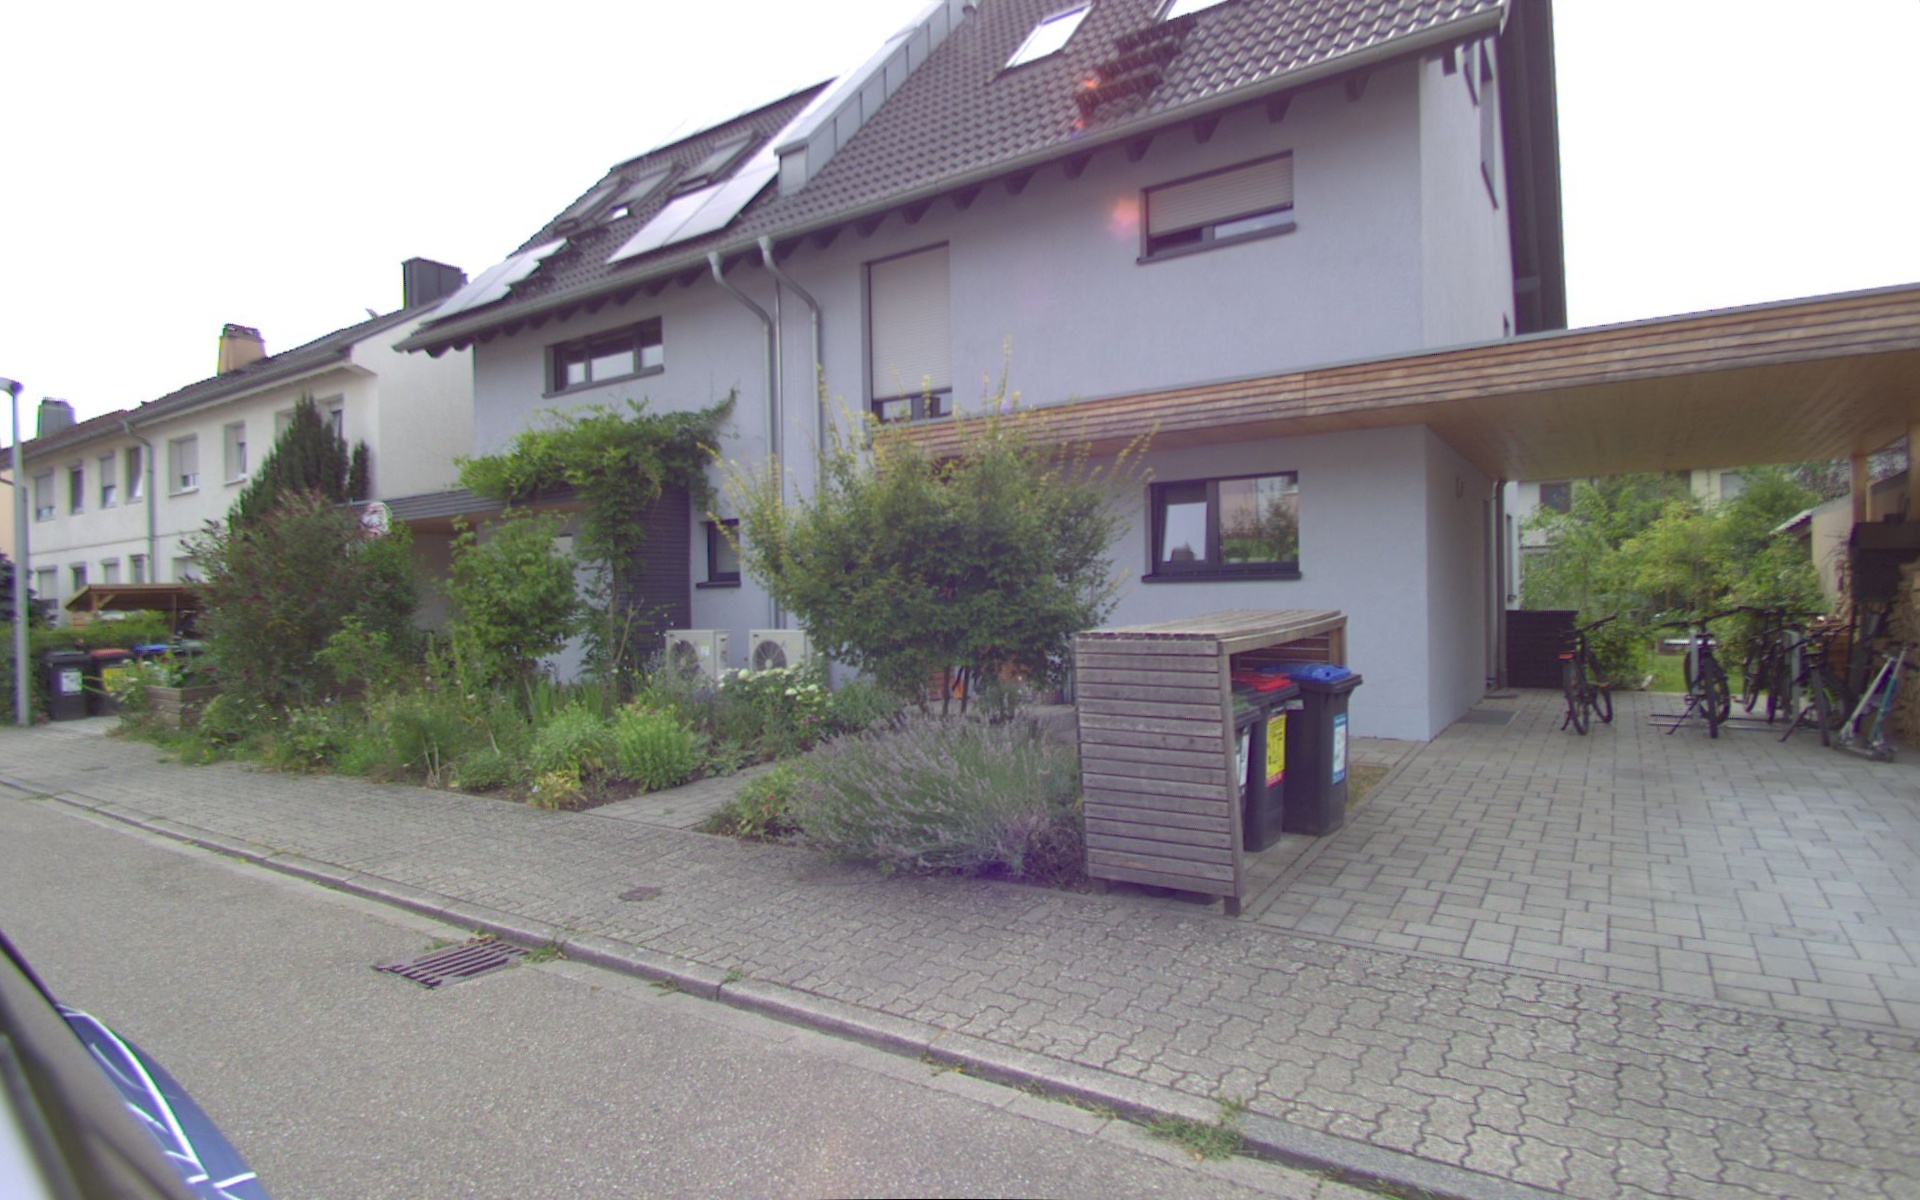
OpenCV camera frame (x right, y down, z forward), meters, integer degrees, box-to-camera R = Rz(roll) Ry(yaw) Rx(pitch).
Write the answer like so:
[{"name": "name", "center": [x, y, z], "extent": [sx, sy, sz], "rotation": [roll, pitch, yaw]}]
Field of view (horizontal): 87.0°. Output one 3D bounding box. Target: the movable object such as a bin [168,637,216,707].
[{"name": "movable object such as a bin", "center": [-11.443, 1.063, 15.078], "extent": [0.466, 1.011, 0.443], "rotation": [-2, -1, 35]}]

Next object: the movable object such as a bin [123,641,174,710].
[{"name": "movable object such as a bin", "center": [-11.759, 1.088, 14.661], "extent": [0.466, 0.963, 0.462], "rotation": [-2, -1, 35]}]

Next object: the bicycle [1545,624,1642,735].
[{"name": "bicycle", "center": [5.588, 0.650, 8.883], "extent": [0.357, 0.855, 1.909], "rotation": [-2, -2, 43]}]

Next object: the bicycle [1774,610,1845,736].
[{"name": "bicycle", "center": [7.230, 0.570, 8.586], "extent": [0.357, 0.960, 1.909], "rotation": [-2, -2, 43]}]

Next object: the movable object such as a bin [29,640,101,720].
[{"name": "movable object such as a bin", "center": [-12.343, 1.082, 13.956], "extent": [0.663, 1.035, 0.597], "rotation": [-2, 0, 35]}]

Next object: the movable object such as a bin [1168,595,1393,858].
[{"name": "movable object such as a bin", "center": [1.838, 0.650, 5.766], "extent": [0.998, 1.322, 0.942], "rotation": [-2, -1, 33]}]

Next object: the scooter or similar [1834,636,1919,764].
[{"name": "scooter or similar", "center": [6.548, 0.672, 7.164], "extent": [0.362, 0.803, 1.291], "rotation": [-2, -1, 33]}]

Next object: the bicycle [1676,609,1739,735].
[{"name": "bicycle", "center": [6.515, 0.575, 8.796], "extent": [0.356, 0.960, 1.912], "rotation": [-2, -1, 38]}]

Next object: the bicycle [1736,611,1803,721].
[{"name": "bicycle", "center": [7.817, 0.594, 9.748], "extent": [0.357, 0.960, 1.909], "rotation": [-2, -2, 43]}]
